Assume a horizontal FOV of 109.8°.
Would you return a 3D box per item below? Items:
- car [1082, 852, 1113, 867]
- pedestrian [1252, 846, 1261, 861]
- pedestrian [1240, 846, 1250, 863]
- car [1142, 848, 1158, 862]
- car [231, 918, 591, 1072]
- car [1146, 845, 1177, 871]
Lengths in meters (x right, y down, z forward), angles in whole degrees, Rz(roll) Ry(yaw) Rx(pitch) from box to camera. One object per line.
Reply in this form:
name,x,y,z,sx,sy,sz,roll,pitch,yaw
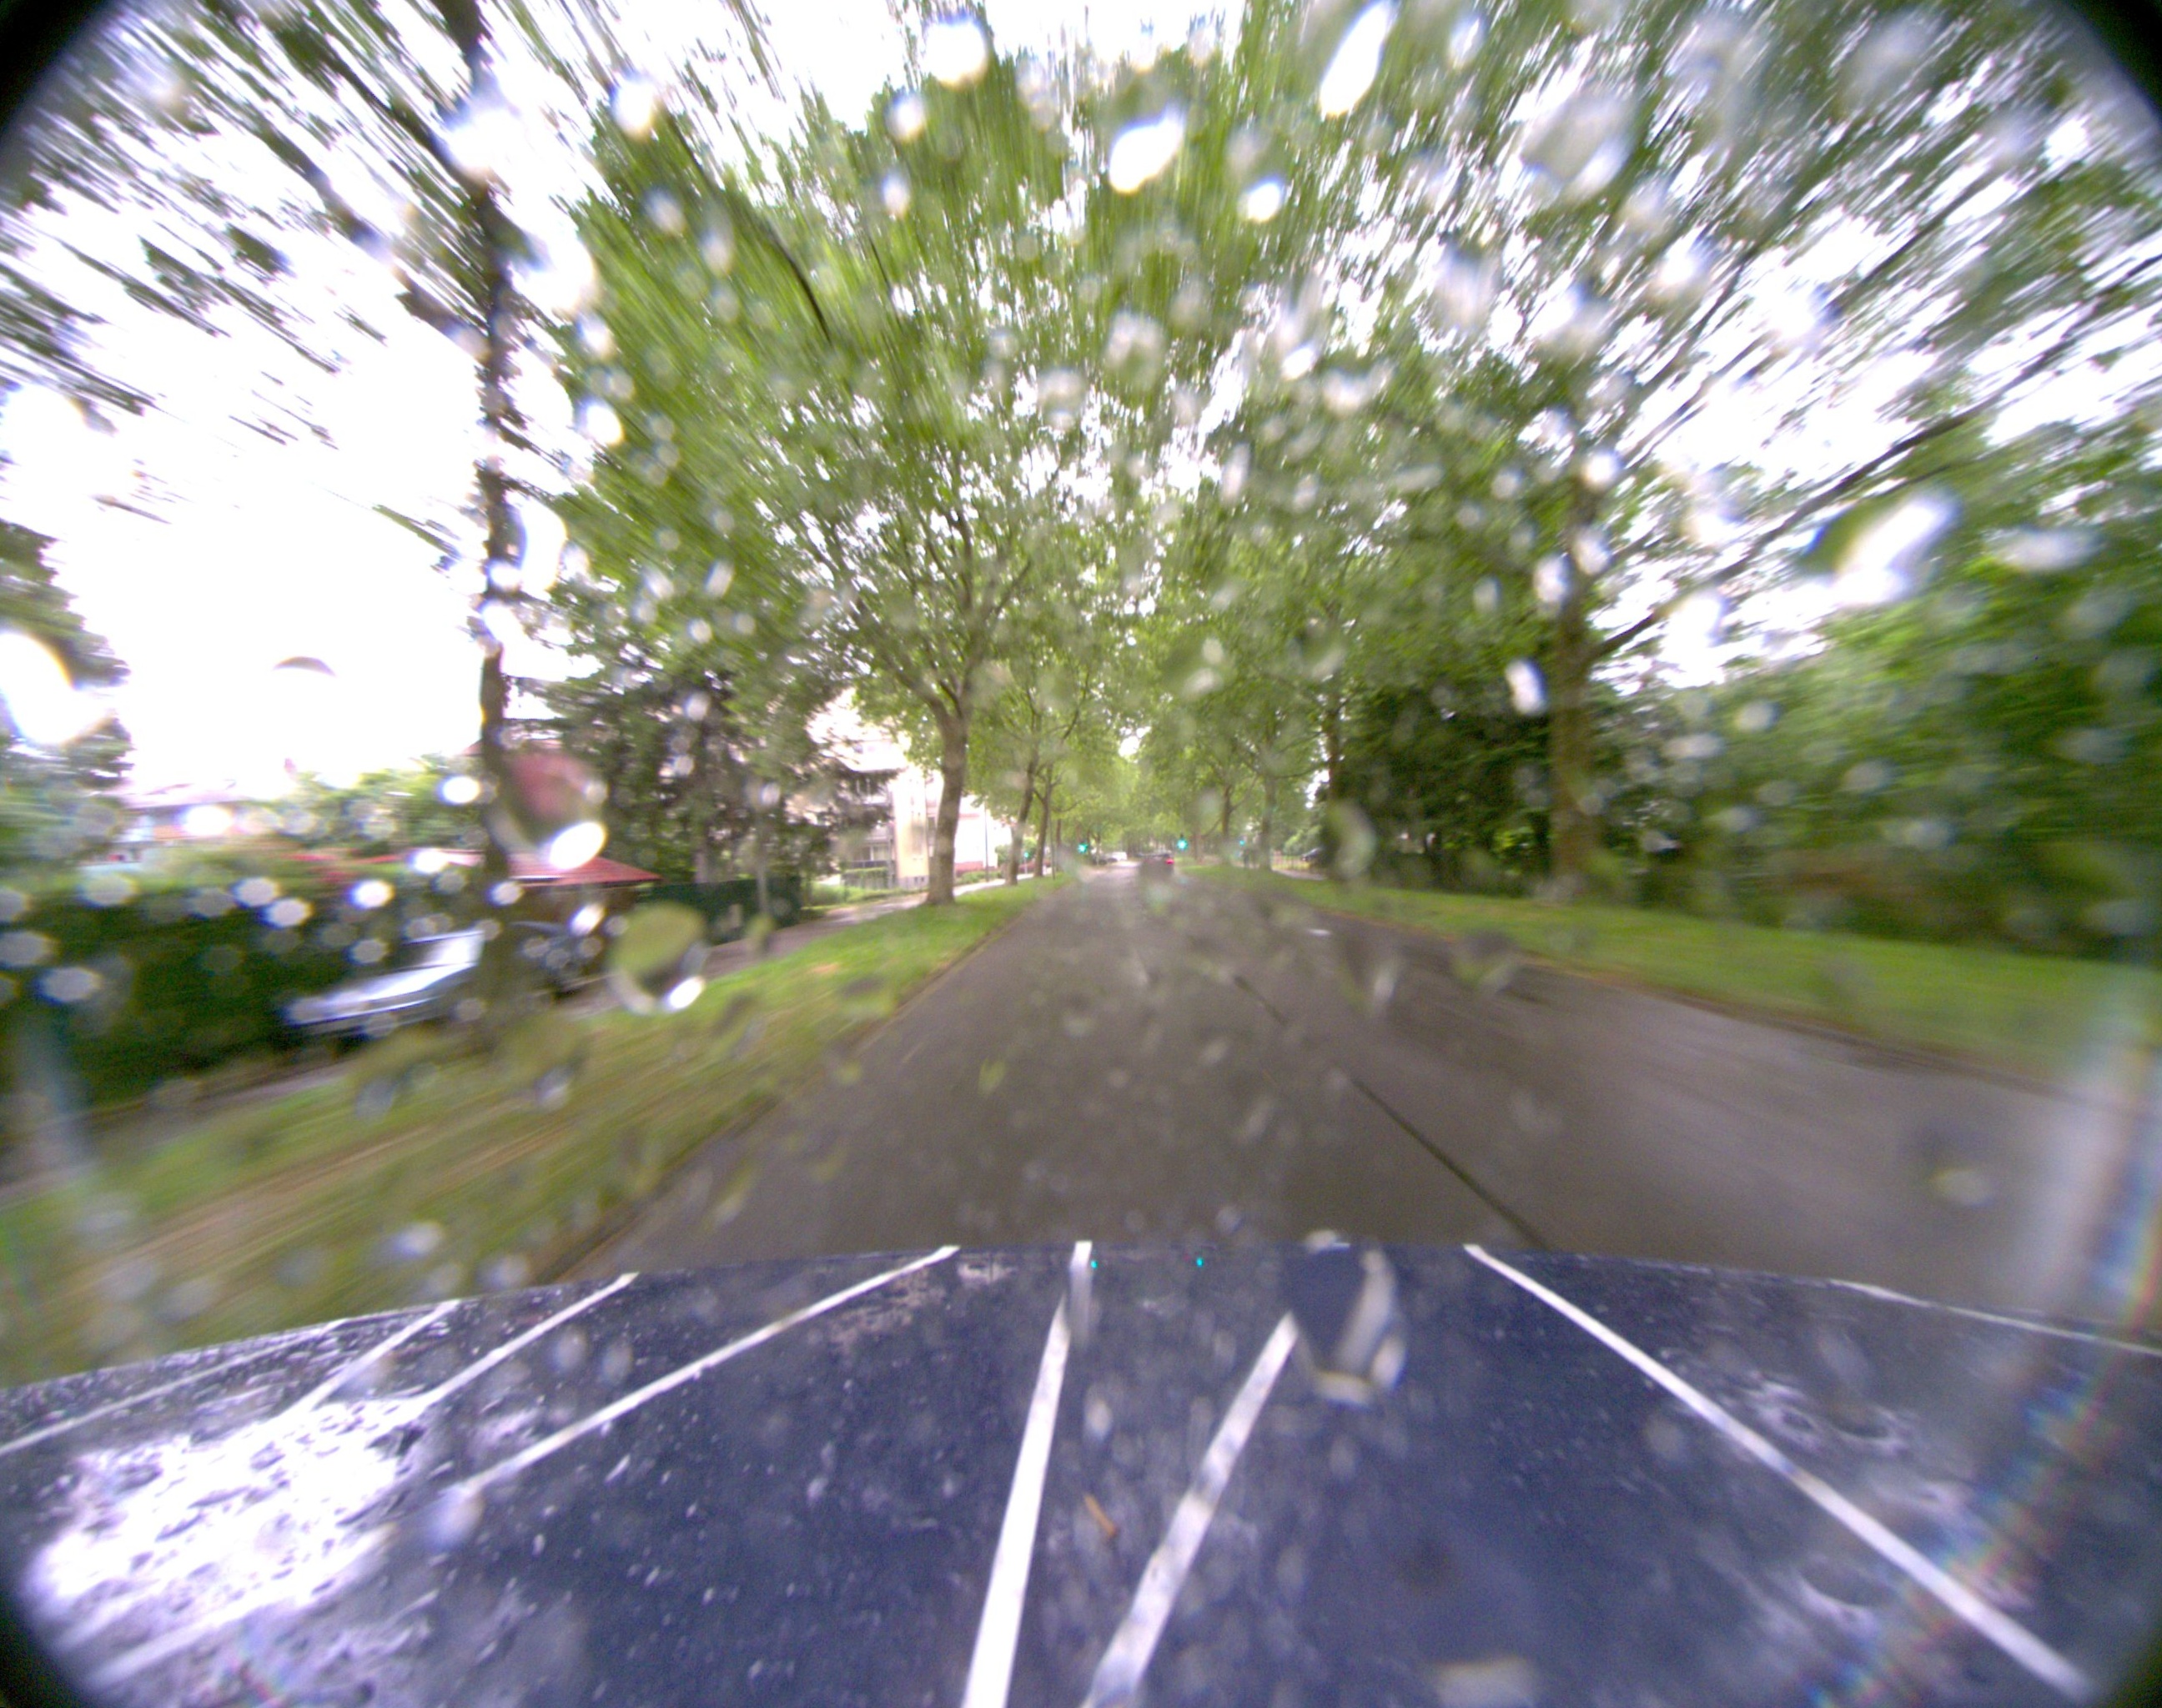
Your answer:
car,2.350,0.724,106.952,4.262,1.845,1.892,-3,1,2
pedestrian,14.898,-0.074,64.507,0.517,1.254,0.849,-3,1,4
pedestrian,13.949,0.026,64.570,0.599,1.445,0.857,-3,1,4
car,8.522,0.114,94.758,1.822,1.645,4.774,-3,0,4
car,-9.584,1.919,11.425,1.800,1.317,3.999,-7,1,-2
car,5.730,0.258,54.504,1.813,1.718,4.455,-3,0,2
